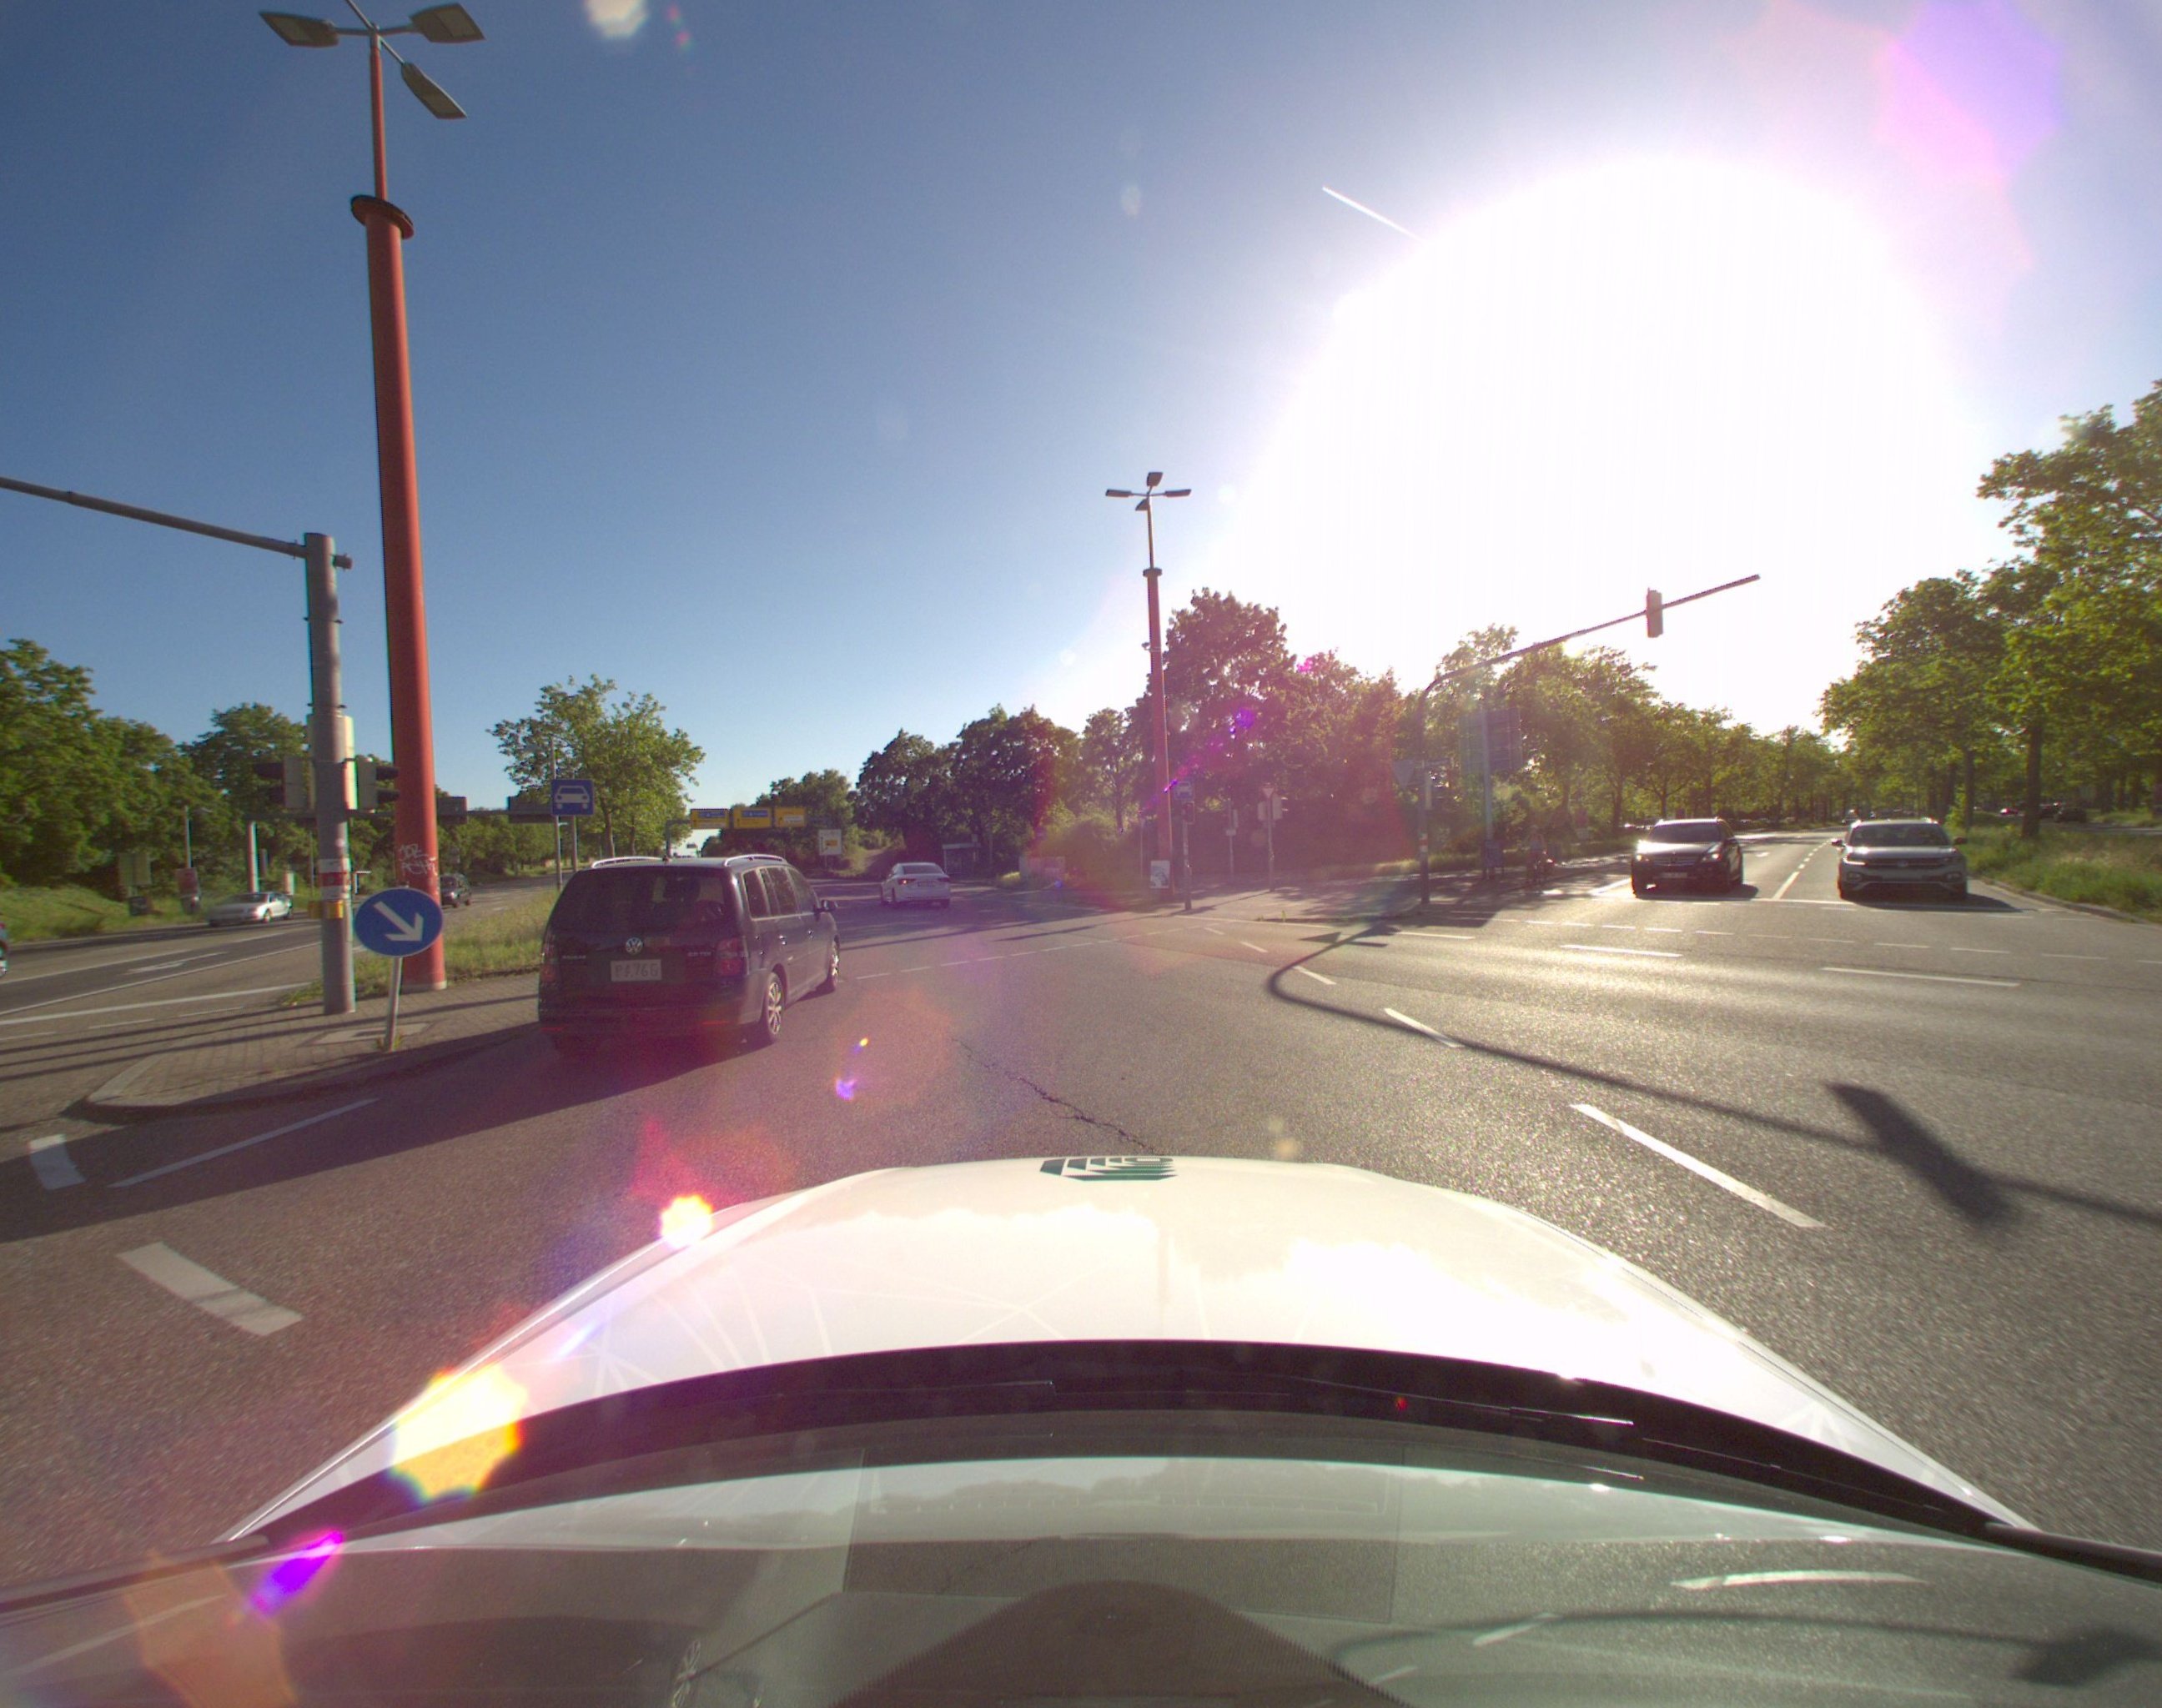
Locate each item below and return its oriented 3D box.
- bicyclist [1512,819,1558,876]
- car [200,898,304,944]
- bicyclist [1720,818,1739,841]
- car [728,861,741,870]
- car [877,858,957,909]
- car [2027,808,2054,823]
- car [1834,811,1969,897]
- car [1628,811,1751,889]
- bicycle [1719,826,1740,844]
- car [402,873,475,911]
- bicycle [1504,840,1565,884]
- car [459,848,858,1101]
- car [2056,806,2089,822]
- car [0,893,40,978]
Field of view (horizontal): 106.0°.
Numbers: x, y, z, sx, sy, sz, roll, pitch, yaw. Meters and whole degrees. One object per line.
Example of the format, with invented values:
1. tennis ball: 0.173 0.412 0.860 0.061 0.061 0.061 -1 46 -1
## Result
1. bicyclist: 12.820 -0.182 22.970 0.986 1.557 0.752 -4 1 -39
2. car: -37.252 2.949 36.731 1.910 1.610 4.523 -5 2 -28
3. bicyclist: 41.520 -1.558 52.137 0.971 1.436 0.728 -3 0 -42
4. car: -59.988 1.948 140.823 1.777 1.464 4.328 -3 1 -26
5. car: -5.546 0.906 27.165 1.775 1.464 4.333 -3 1 -22
6. car: 116.623 -4.668 99.024 4.023 1.627 1.855 -2 1 -44
7. car: 16.747 -0.057 16.786 1.751 1.538 4.116 -2 1 43
8. car: 15.487 -0.170 20.610 1.884 1.726 4.682 -2 1 44
9. bicycle: 41.494 -1.205 52.105 2.026 1.091 0.728 -3 1 -42
10. car: -31.172 1.795 39.625 1.910 1.565 4.523 -5 2 -28
11. bicycle: 12.786 0.210 22.915 2.025 1.091 0.757 -4 1 -39
12. car: -3.590 0.807 8.134 1.765 1.644 4.913 -3 1 -6
13. car: 92.286 -3.712 75.838 4.072 1.387 1.774 -4 2 -42
14. car: -21.149 1.638 14.204 1.910 1.610 4.523 -5 2 -28
